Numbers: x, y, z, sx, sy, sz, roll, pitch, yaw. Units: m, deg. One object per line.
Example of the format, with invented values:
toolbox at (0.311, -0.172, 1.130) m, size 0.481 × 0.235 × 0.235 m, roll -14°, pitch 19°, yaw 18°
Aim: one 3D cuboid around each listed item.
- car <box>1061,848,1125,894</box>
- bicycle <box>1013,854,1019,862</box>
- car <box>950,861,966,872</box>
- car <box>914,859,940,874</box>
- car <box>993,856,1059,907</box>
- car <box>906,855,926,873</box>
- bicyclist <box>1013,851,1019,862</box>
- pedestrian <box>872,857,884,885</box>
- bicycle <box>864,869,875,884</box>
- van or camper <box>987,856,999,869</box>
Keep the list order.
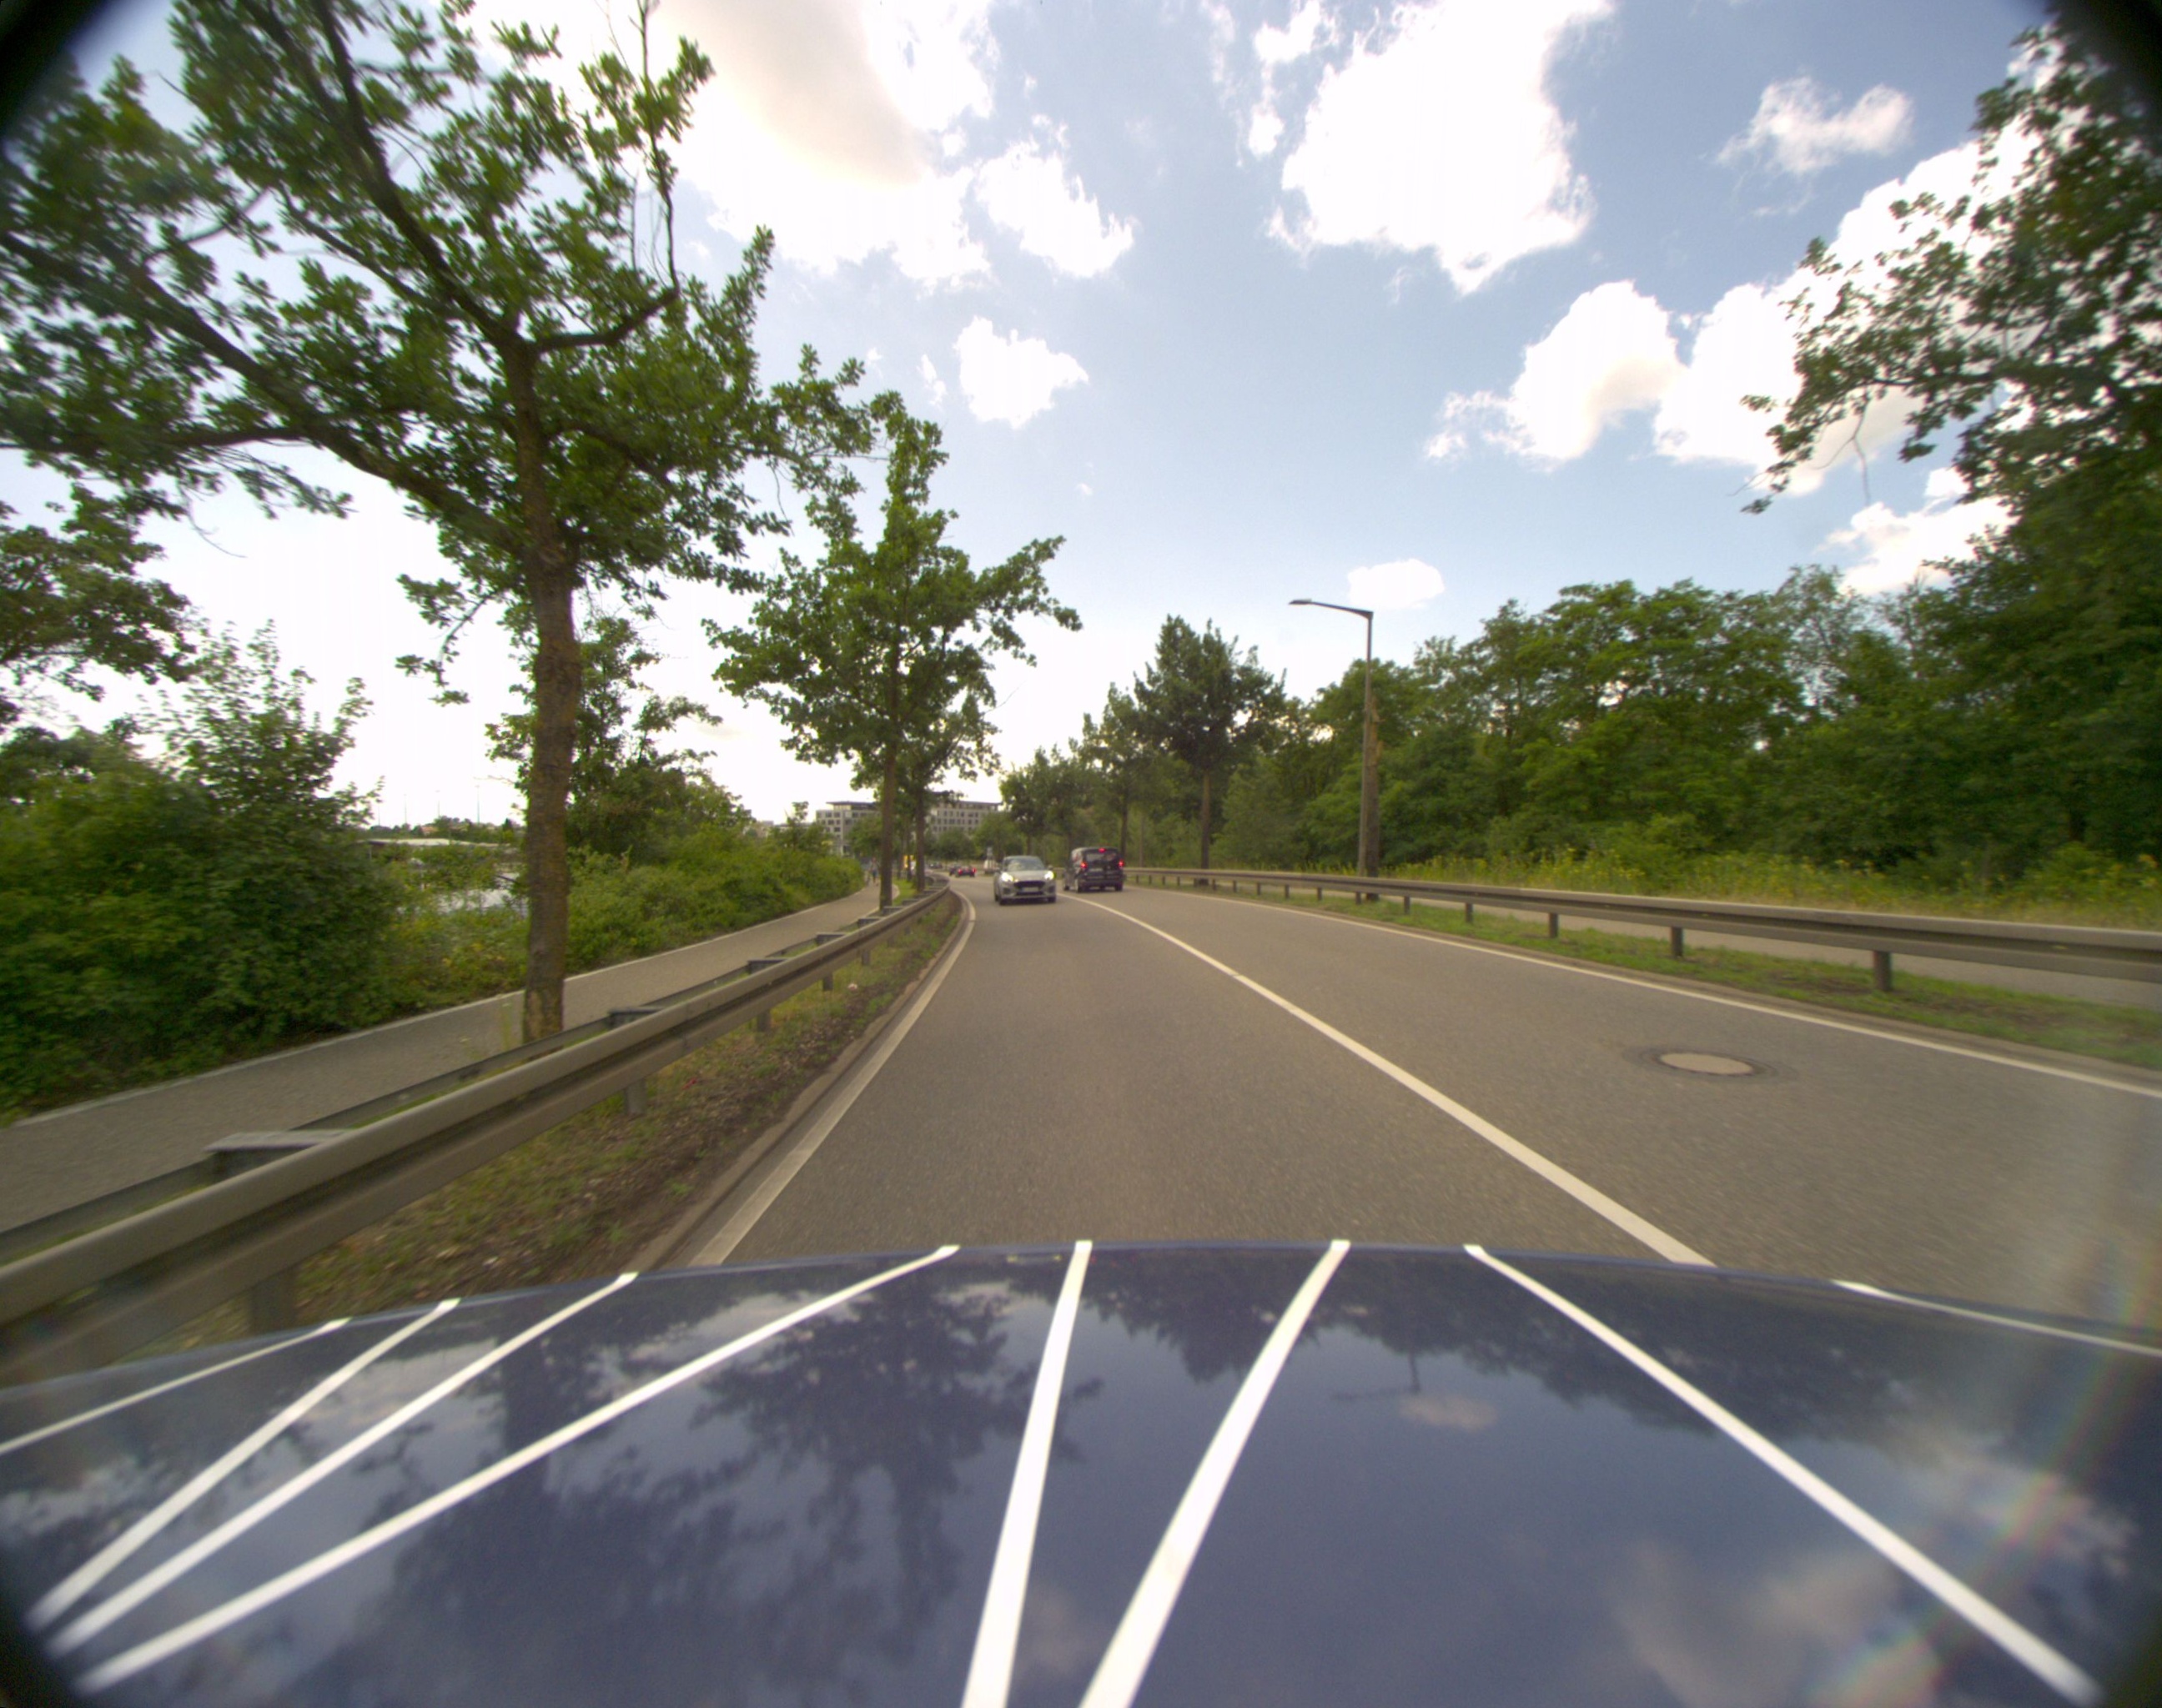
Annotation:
car at (0.404, 0.649, 31.313) m, size 1.858 × 1.699 × 4.308 m, roll -2°, pitch 0°, yaw -9°
bicycle at (-8.584, 0.561, 100.266) m, size 0.559 × 1.057 × 1.751 m, roll 0°, pitch 0°, yaw -16°
car at (-14.401, 1.473, 88.763) m, size 1.598 × 1.211 × 3.786 m, roll 0°, pitch -1°, yaw -14°
car at (-14.698, 1.175, 72.421) m, size 1.850 × 1.201 × 3.993 m, roll 2°, pitch 1°, yaw -19°
car at (-1.911, 0.851, 25.377) m, size 1.829 × 1.516 × 3.997 m, roll -2°, pitch 0°, yaw -9°
car at (-19.679, 1.185, 90.424) m, size 2.001 × 2.002 × 3.994 m, roll 3°, pitch 0°, yaw -15°
bicyclist at (-8.576, 0.320, 100.218) m, size 0.486 × 1.543 × 0.879 m, roll 1°, pitch 0°, yaw -16°
pedestrian at (-12.028, 0.988, 45.004) m, size 0.659 × 1.632 × 1.053 m, roll 0°, pitch 0°, yaw -16°
bicycle at (-12.517, 1.328, 44.948) m, size 0.558 × 0.864 × 1.823 m, roll 0°, pitch -1°, yaw -16°
van or camper at (-18.103, 1.721, 156.685) m, size 1.999 × 2.566 × 5.981 m, roll 2°, pitch -2°, yaw -3°
